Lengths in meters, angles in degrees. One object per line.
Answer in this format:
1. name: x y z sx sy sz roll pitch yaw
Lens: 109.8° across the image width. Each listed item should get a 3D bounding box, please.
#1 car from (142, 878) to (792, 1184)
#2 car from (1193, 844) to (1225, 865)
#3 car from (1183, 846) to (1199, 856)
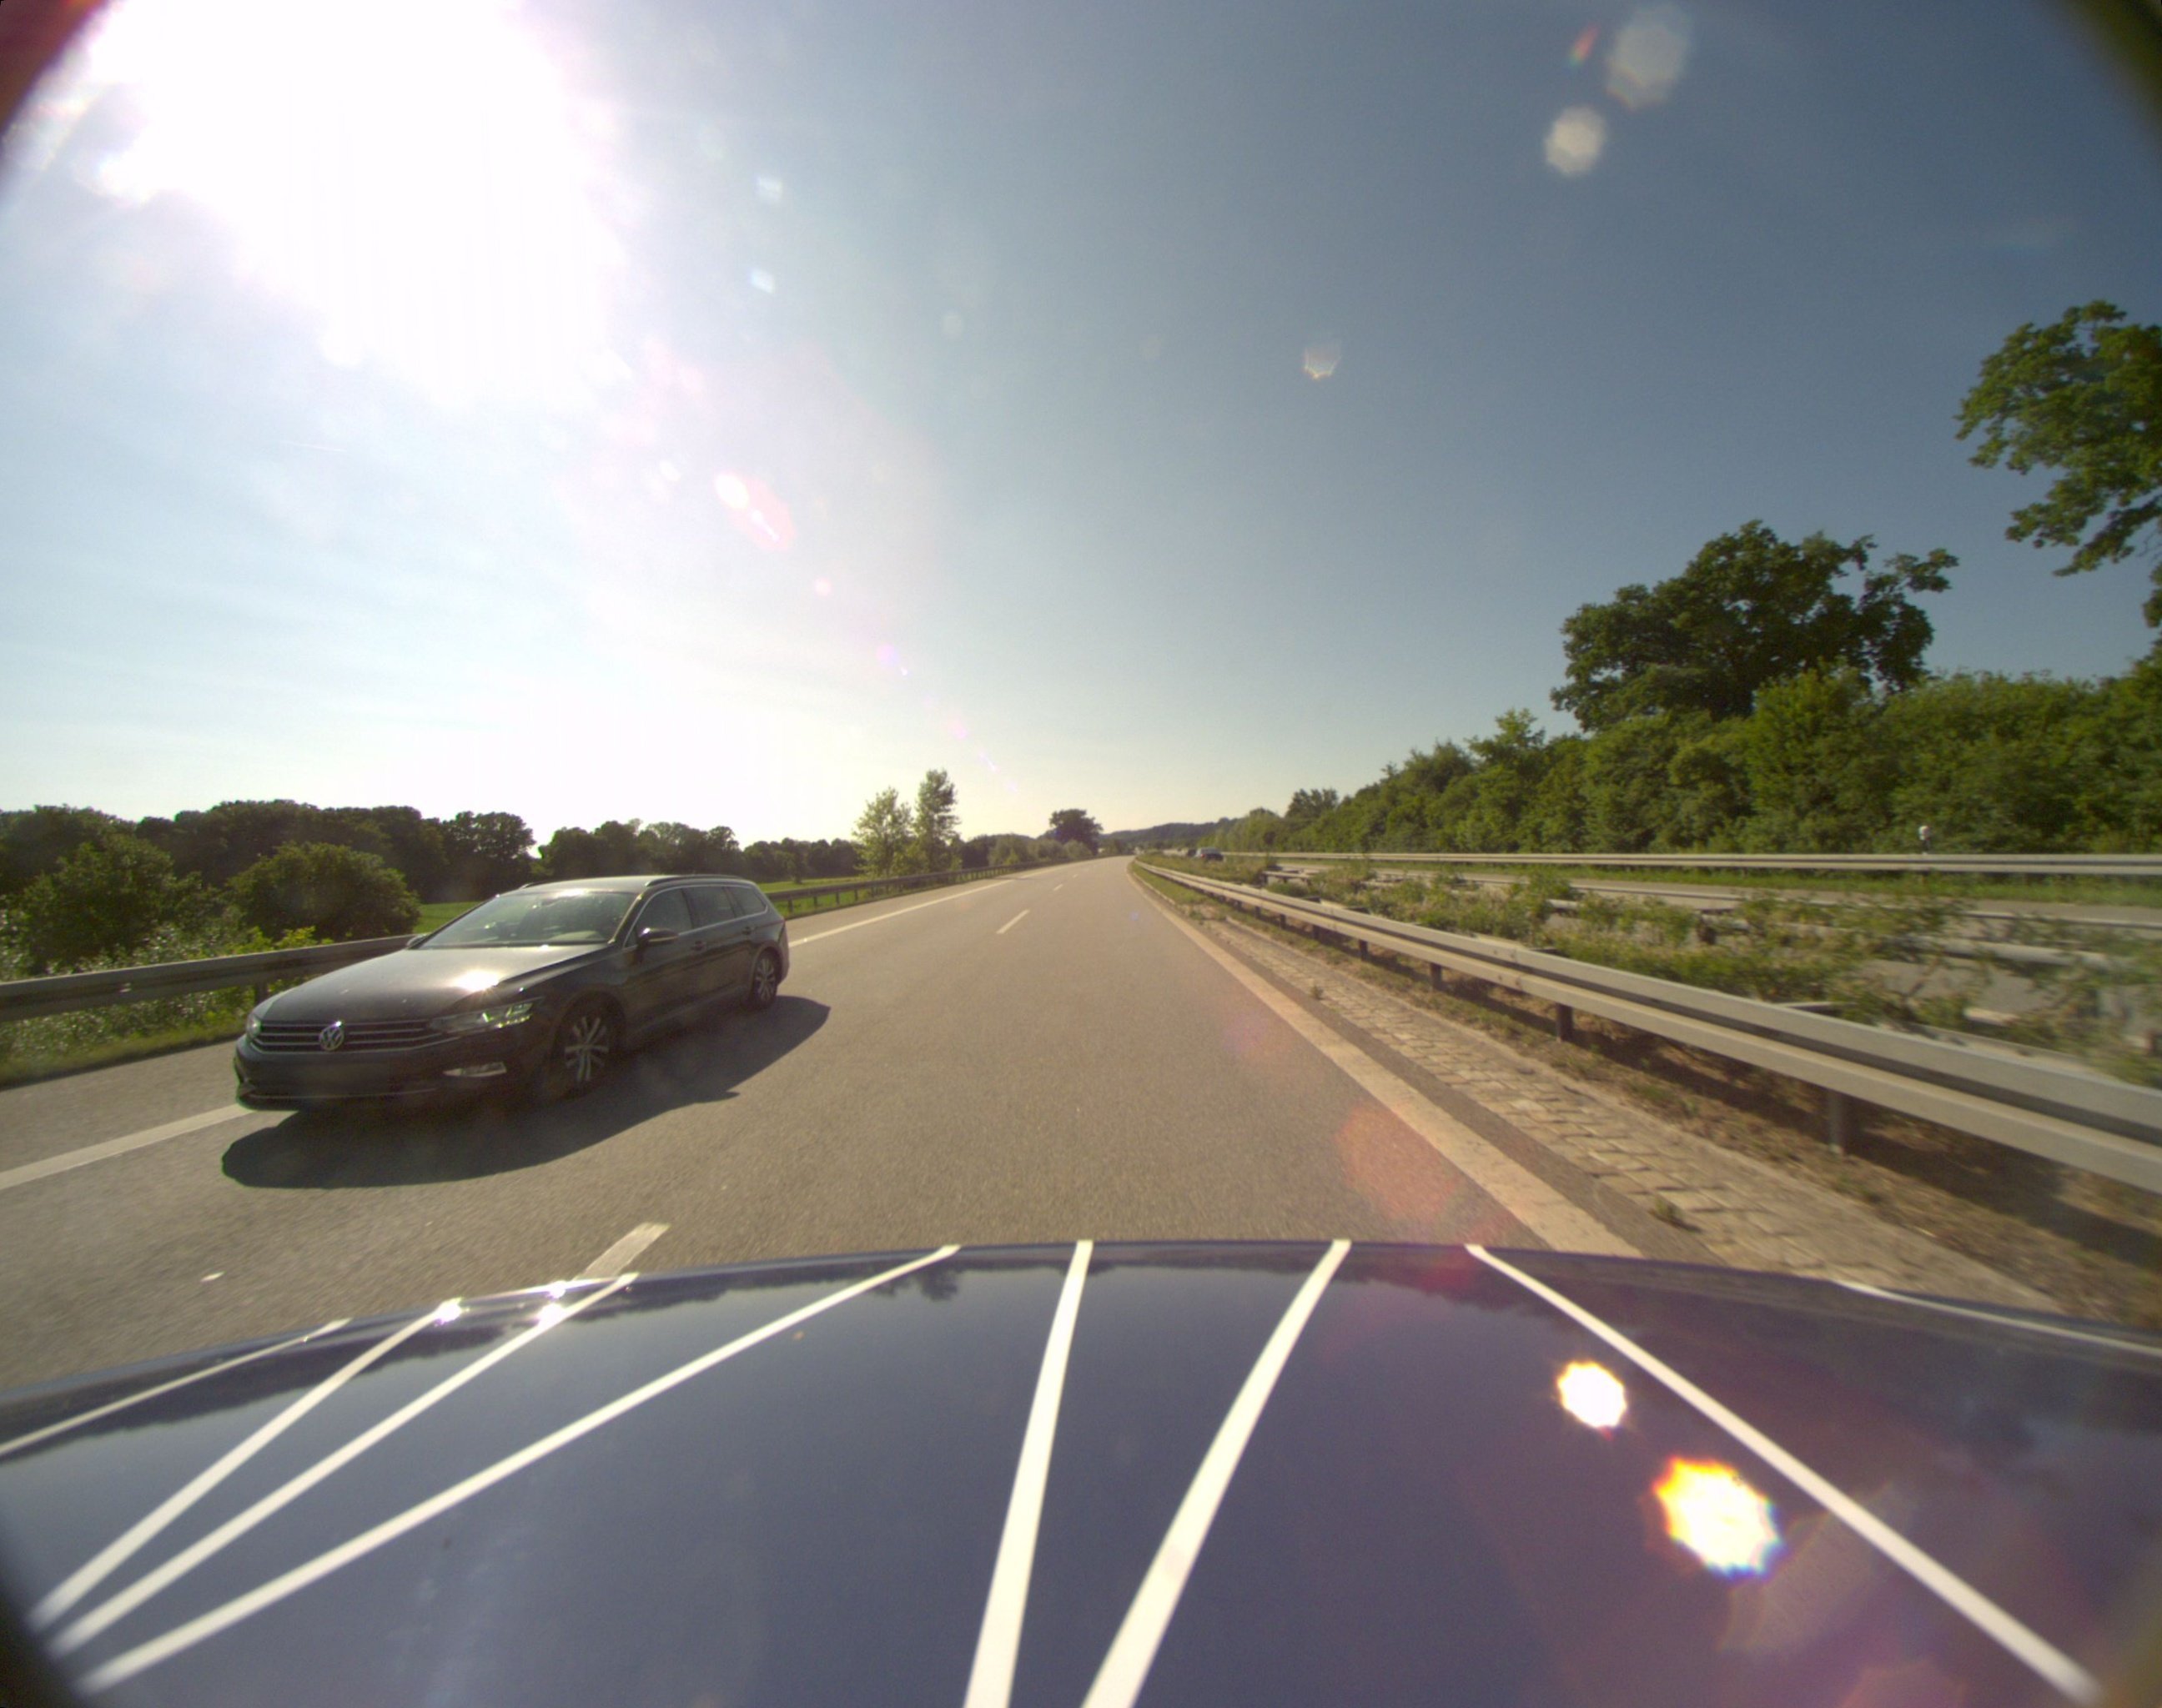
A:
1. car: -4.125 1.023 6.278 1.723 1.392 4.412 -2 1 0
2. car: 8.958 0.005 53.323 1.733 1.420 3.881 -1 1 3
3. car: 17.028 -0.454 117.794 1.998 1.424 4.487 -1 0 2
